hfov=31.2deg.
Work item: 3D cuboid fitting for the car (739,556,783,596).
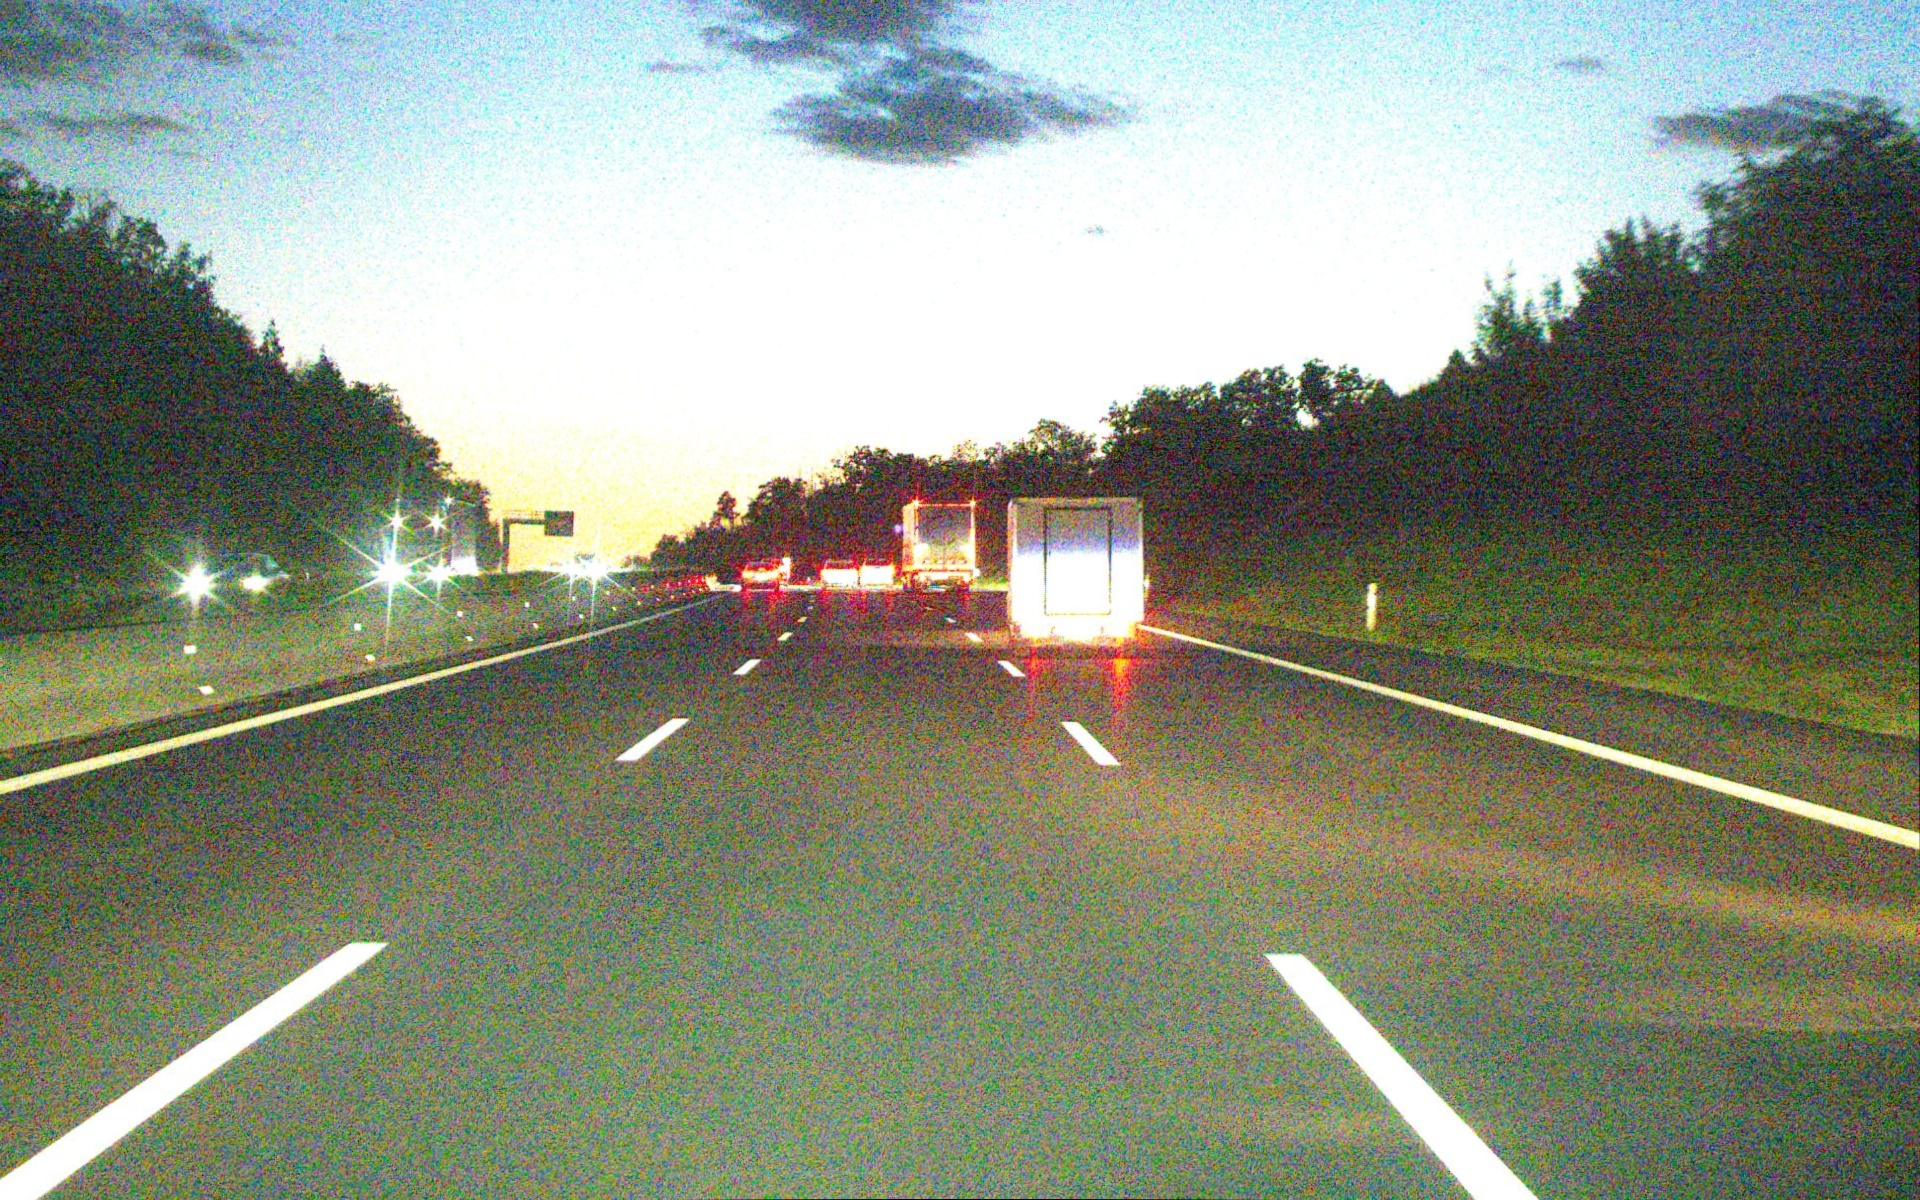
[{"bbox_3d":[-9.398,-1.138,162.822,1.993,1.788,4.000,0,-1,-2],"label":"car"}]

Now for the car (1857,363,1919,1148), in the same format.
[{"bbox_3d":[3.521,0.417,6.481,2.115,1.994,5.664,0,0,-1],"label":"car"}]

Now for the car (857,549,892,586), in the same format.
[{"bbox_3d":[-5.082,-1.936,204.429,1.993,2.110,4.000,0,-1,-2],"label":"car"}]

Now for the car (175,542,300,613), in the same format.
[{"bbox_3d":[-17.678,-0.577,84.338,2.010,1.664,4.948,0,1,0],"label":"car"}]

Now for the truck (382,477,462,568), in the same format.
[{"bbox_3d":[-23.994,-3.440,153.611,2.853,3.967,5.860,0,1,-2],"label":"truck"}]

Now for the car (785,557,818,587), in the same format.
[{"bbox_3d":[-9.985,-1.774,217.003,1.993,1.810,4.000,0,-1,-1],"label":"car"}]

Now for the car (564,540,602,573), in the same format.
[{"bbox_3d":[-24.603,-2.848,224.662,2.244,2.094,5.716,0,2,-4],"label":"car"}]

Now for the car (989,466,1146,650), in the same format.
[{"bbox_3d":[1.582,-0.631,52.634,2.032,2.638,5.725,0,0,-2],"label":"car"}]

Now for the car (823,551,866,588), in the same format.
[{"bbox_3d":[-5.815,-1.526,172.871,1.993,1.788,4.000,0,-1,0],"label":"car"}]

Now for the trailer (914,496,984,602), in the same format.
[{"bbox_3d":[-0.585,-2.170,155.141,2.829,4.242,17.048,0,-1,-1],"label":"trailer"}]
